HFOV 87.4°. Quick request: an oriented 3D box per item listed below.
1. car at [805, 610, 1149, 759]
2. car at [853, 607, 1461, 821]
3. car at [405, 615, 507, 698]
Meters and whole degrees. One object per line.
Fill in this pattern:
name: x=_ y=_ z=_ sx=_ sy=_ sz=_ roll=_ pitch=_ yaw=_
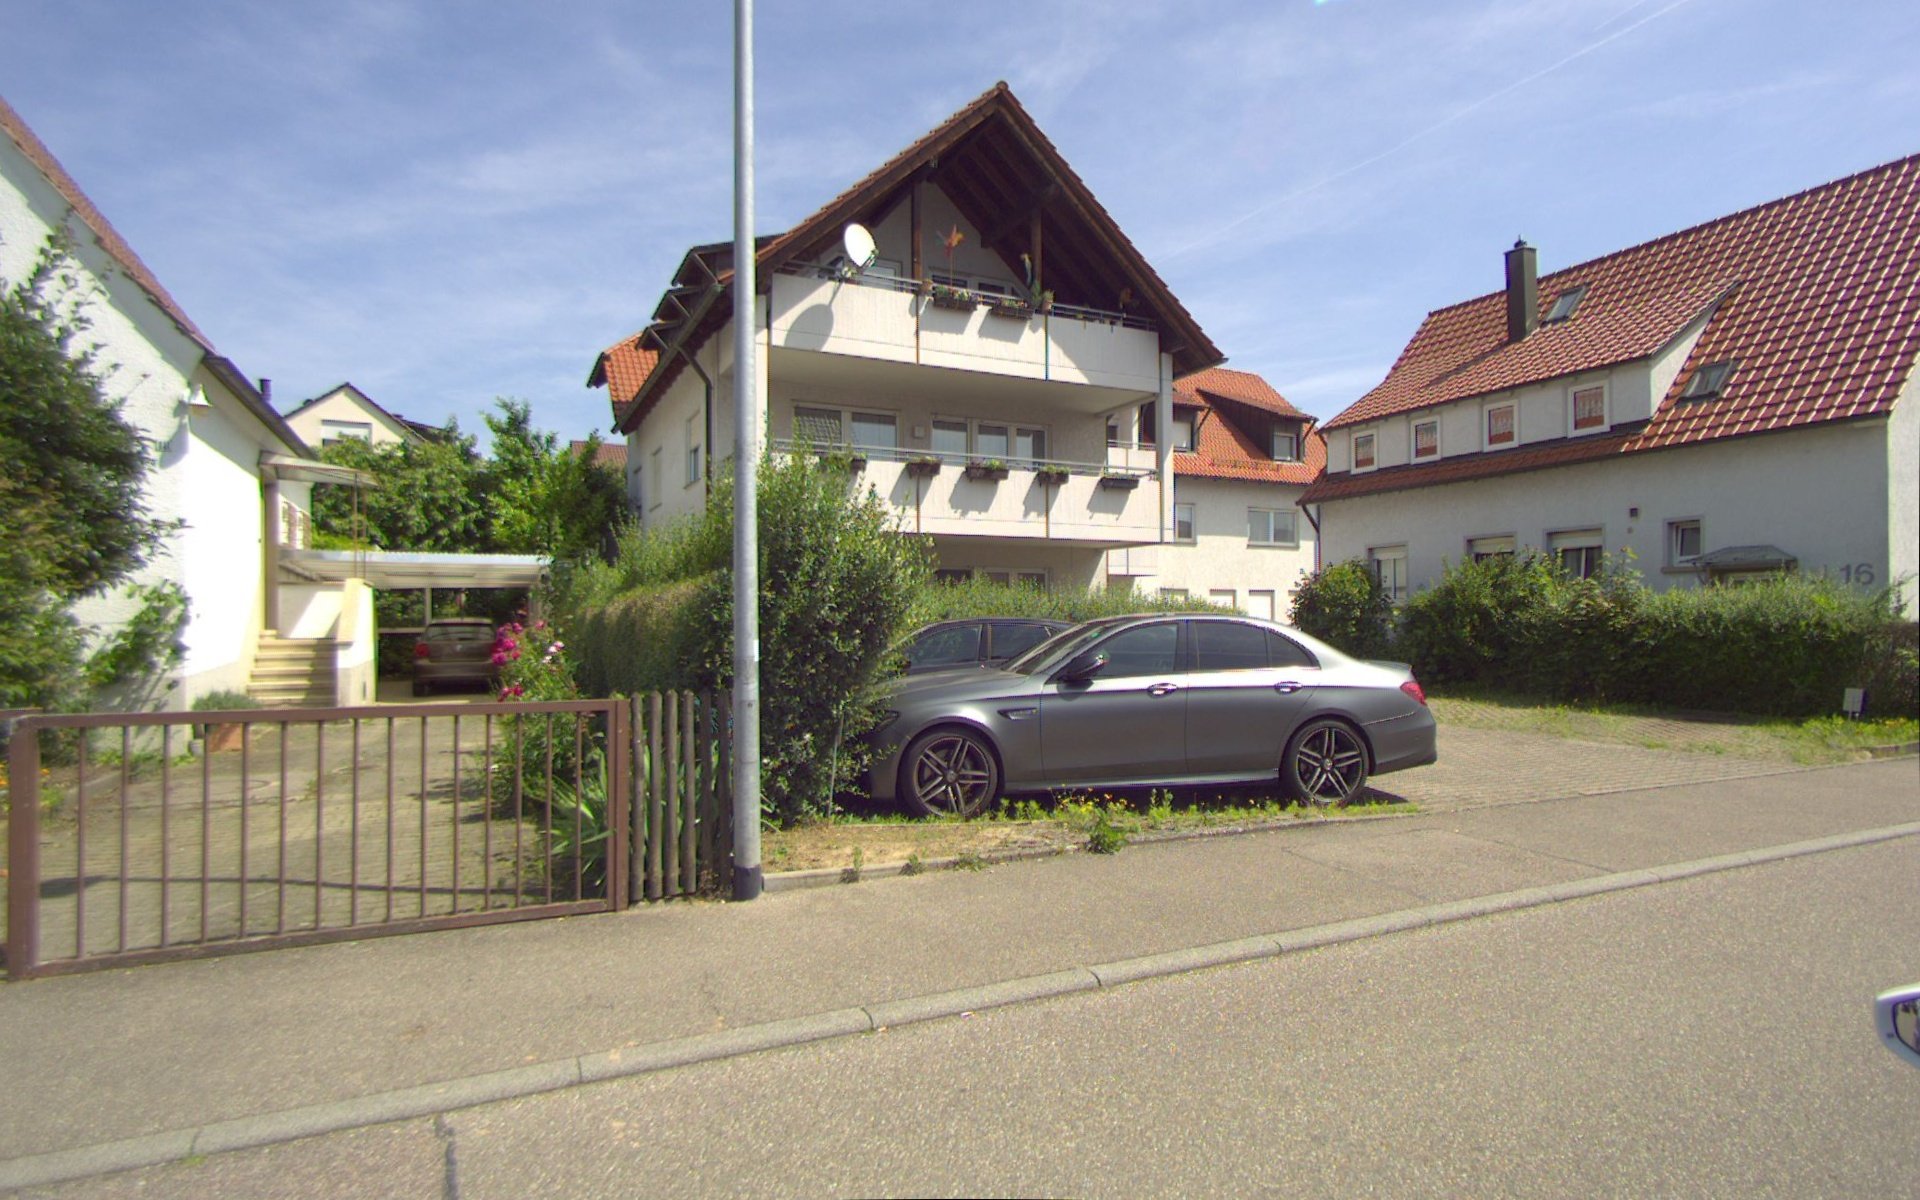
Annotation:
car: x=0.129 y=0.899 z=11.276 sx=3.583 sy=1.521 sz=1.693 roll=1 pitch=-1 yaw=-6
car: x=1.452 y=0.821 z=8.142 sx=4.481 sy=1.451 sz=1.830 roll=1 pitch=-1 yaw=-11
car: x=-10.124 y=1.048 z=20.055 sx=1.640 sy=1.449 sz=3.827 roll=1 pitch=-1 yaw=-29
